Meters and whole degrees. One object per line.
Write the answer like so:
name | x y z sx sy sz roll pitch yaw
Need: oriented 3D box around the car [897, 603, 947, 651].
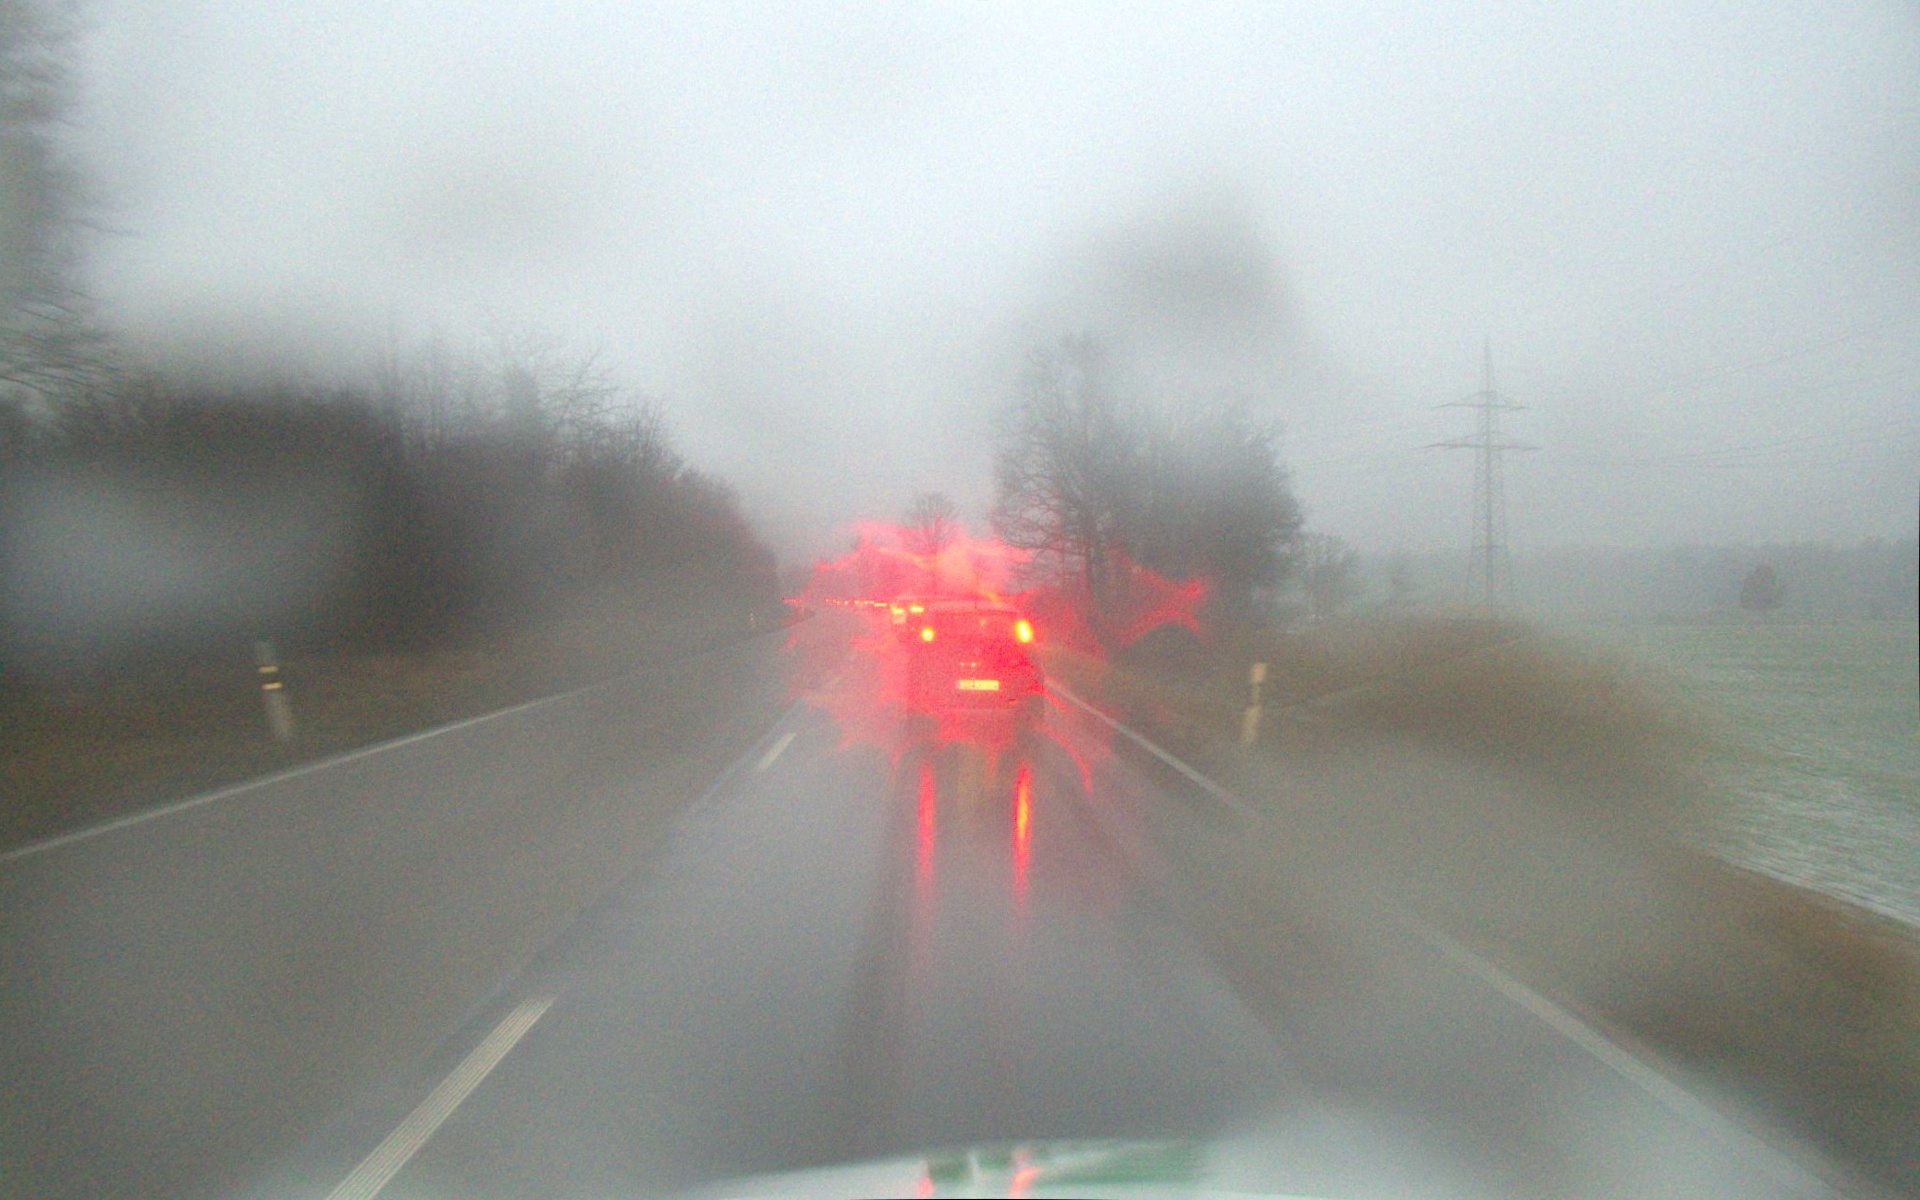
car | -1.204 0.831 52.639 1.515 1.421 3.868 1 0 -1

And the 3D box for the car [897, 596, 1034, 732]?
car | 0.114 0.740 21.038 1.569 1.549 3.870 1 0 1

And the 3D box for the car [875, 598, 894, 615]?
car | -6.411 0.572 140.546 1.515 1.421 3.869 1 0 0

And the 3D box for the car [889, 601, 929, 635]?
car | -2.188 0.760 71.731 1.515 1.421 3.869 1 0 1
